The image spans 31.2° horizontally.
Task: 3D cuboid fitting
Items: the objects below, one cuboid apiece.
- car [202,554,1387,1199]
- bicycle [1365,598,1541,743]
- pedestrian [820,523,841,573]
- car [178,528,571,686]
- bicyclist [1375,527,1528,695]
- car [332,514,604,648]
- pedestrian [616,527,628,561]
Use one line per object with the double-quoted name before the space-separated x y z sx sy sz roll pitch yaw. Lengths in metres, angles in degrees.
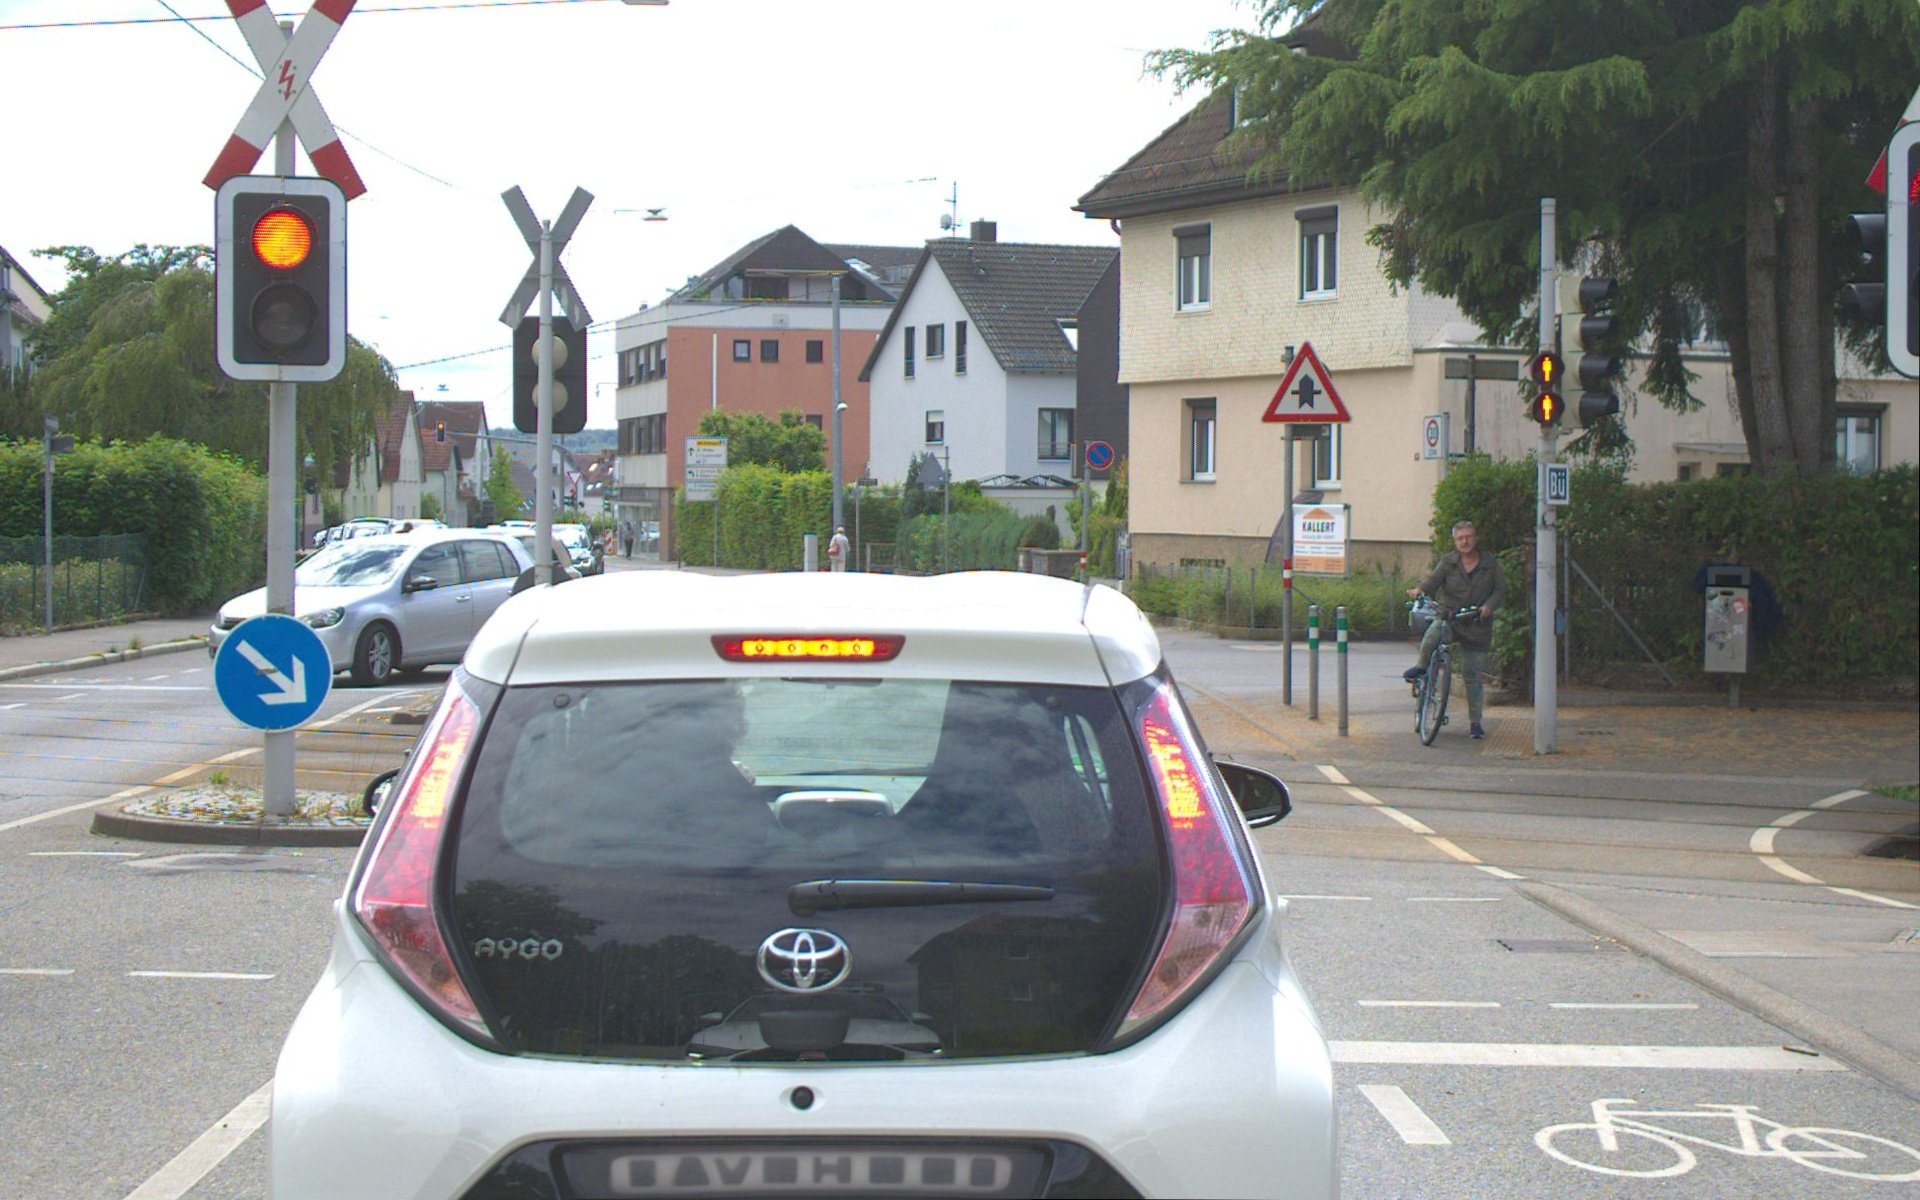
"car" -0.252 0.665 6.724 1.621 1.481 4.000 0 1 -1
"bicycle" 3.794 0.517 26.325 0.933 1.037 1.913 0 1 21
"pedestrian" -3.732 -1.506 99.043 0.414 1.433 0.437 2 2 26
"car" -5.786 0.029 34.452 1.691 1.453 4.063 0 1 29
"bicyclist" 3.759 0.072 26.228 0.933 1.243 1.101 0 1 21
"car" -5.782 -0.218 40.574 1.579 1.505 2.781 2 1 42
"pedestrian" -14.293 -2.370 145.301 0.413 1.433 0.438 1 1 -11
